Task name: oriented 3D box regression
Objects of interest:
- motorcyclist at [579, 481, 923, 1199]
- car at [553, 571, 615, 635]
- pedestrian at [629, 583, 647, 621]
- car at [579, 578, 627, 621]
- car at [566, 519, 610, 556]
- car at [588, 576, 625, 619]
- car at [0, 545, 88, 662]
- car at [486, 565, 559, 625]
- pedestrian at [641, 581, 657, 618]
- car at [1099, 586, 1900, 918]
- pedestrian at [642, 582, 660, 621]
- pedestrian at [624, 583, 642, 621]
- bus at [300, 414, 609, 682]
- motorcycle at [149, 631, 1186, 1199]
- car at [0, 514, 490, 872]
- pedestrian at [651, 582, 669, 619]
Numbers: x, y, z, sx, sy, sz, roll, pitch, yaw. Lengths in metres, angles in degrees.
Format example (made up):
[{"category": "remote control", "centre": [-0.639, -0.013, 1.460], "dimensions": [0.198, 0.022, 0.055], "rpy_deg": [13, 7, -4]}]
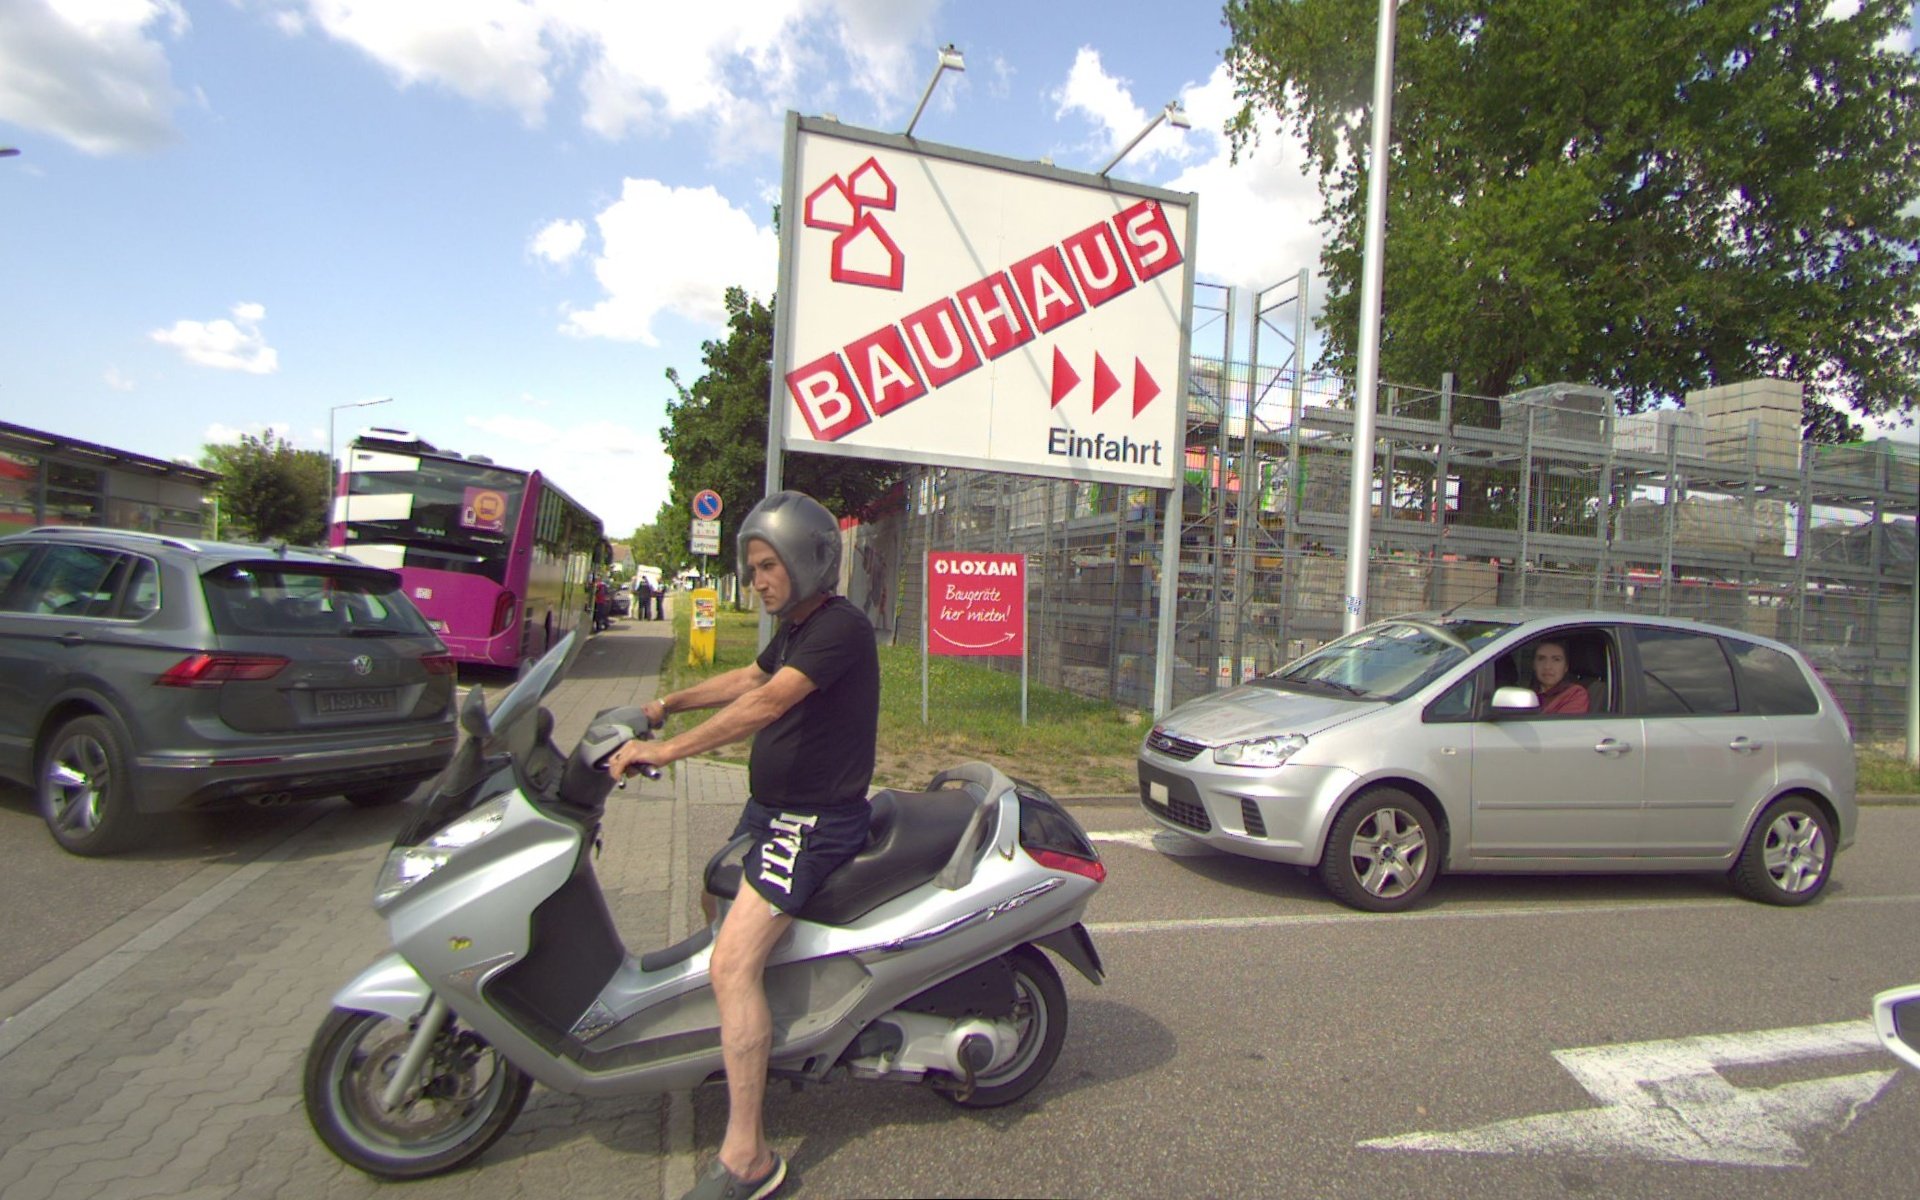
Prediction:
[{"category": "motorcyclist", "centre": [-0.541, 0.584, 2.606], "dimensions": [0.675, 1.650, 0.787], "rpy_deg": [3, 0, -14]}, {"category": "car", "centre": [-11.539, 0.084, 30.966], "dimensions": [1.424, 1.829, 3.628], "rpy_deg": [2, 0, -15]}, {"category": "pedestrian", "centre": [-12.544, 0.072, 39.114], "dimensions": [0.382, 1.448, 0.377], "rpy_deg": [5, -1, 12]}, {"category": "car", "centre": [-14.124, -0.011, 39.841], "dimensions": [1.533, 1.570, 3.192], "rpy_deg": [2, 0, -15]}, {"category": "car", "centre": [-18.114, -3.012, 48.964], "dimensions": [1.666, 1.434, 2.939], "rpy_deg": [7, -2, -16]}, {"category": "car", "centre": [-16.076, -0.114, 45.750], "dimensions": [1.327, 1.778, 2.869], "rpy_deg": [6, -2, -18]}, {"category": "car", "centre": [-13.390, 0.007, 12.786], "dimensions": [1.762, 1.529, 4.179], "rpy_deg": [3, 0, -15]}, {"category": "car", "centre": [-15.017, -0.156, 34.668], "dimensions": [1.770, 1.769, 3.983], "rpy_deg": [6, -2, -18]}, {"category": "pedestrian", "centre": [-12.505, -0.019, 40.374], "dimensions": [0.386, 1.448, 0.373], "rpy_deg": [7, -2, -33]}, {"category": "car", "centre": [3.128, 0.824, 6.097], "dimensions": [4.137, 1.585, 1.719], "rpy_deg": [3, 0, -13]}, {"category": "pedestrian", "centre": [-12.089, 0.058, 39.318], "dimensions": [0.382, 1.448, 0.377], "rpy_deg": [5, -1, 12]}, {"category": "pedestrian", "centre": [-12.907, 0.069, 39.656], "dimensions": [0.382, 1.448, 0.377], "rpy_deg": [5, -1, 12]}, {"category": "bus", "centre": [-8.660, -0.707, 19.019], "dimensions": [2.846, 3.409, 11.530], "rpy_deg": [3, 0, -15]}, {"category": "motorcycle", "centre": [-0.598, 0.800, 2.567], "dimensions": [2.176, 1.323, 0.670], "rpy_deg": [3, 0, -14]}, {"category": "car", "centre": [-5.311, 0.414, 6.319], "dimensions": [4.300, 1.688, 1.769], "rpy_deg": [1, 0, 21]}, {"category": "pedestrian", "centre": [-11.952, 0.021, 40.028], "dimensions": [0.382, 1.448, 0.377], "rpy_deg": [5, -1, 12]}]
